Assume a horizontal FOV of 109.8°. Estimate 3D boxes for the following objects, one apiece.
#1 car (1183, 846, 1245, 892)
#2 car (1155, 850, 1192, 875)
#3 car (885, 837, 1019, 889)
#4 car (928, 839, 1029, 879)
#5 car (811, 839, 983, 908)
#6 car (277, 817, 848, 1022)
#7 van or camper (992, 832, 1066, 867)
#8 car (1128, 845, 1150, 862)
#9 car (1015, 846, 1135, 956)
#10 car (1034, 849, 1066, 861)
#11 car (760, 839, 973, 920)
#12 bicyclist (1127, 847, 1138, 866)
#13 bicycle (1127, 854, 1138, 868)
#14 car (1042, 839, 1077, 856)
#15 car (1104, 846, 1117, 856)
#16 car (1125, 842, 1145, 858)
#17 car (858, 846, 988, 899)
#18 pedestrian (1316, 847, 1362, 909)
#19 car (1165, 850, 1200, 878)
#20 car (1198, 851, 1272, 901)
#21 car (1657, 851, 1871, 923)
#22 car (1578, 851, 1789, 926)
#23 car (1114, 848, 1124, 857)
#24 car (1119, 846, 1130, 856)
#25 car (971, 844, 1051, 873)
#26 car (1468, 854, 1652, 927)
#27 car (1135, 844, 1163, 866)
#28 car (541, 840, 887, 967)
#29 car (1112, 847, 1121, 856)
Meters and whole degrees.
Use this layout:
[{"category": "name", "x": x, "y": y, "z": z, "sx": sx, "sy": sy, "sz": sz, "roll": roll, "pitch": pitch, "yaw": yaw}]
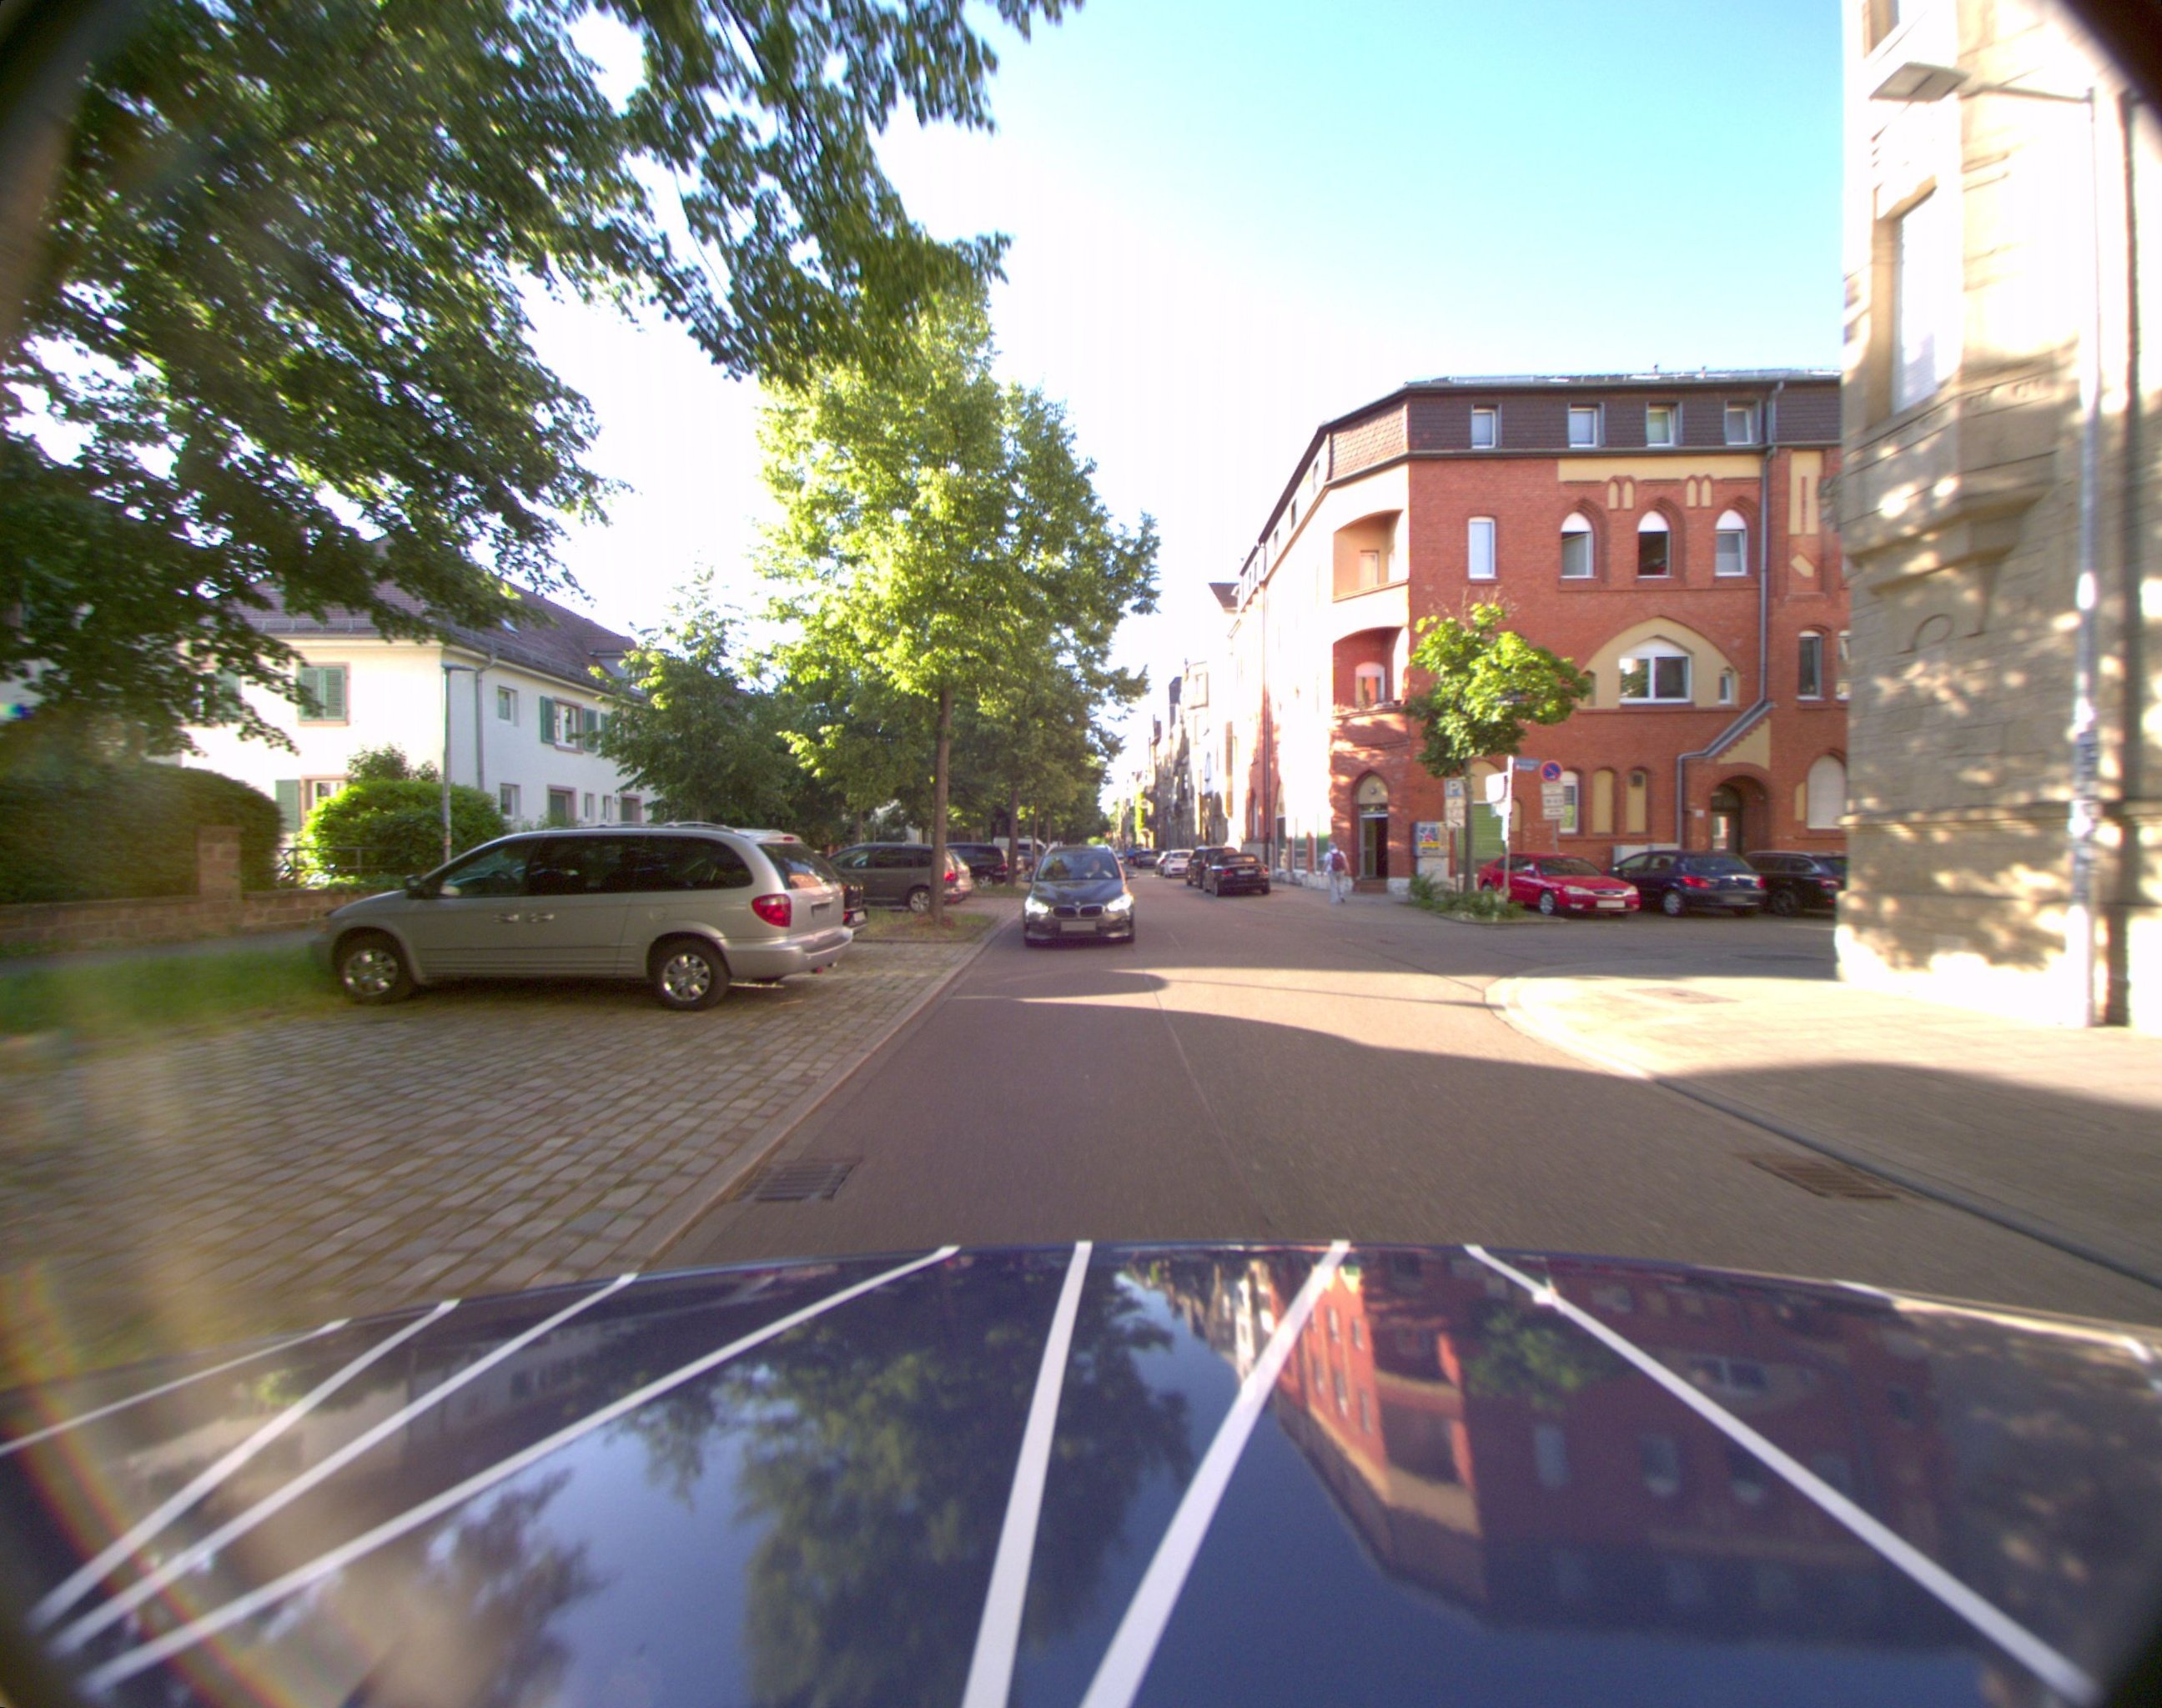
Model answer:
[{"category": "car", "x": 5.324, "y": 0.537, "z": 30.849, "sx": 1.673, "sy": 1.671, "sz": 4.349, "roll": -1, "pitch": 1, "yaw": -1}, {"category": "car", "x": 5.499, "y": 0.485, "z": 45.727, "sx": 1.681, "sy": 1.434, "sz": 4.111, "roll": -2, "pitch": 0, "yaw": 0}, {"category": "car", "x": -4.783, "y": 0.324, "z": 28.579, "sx": 4.592, "sy": 1.667, "sz": 1.907, "roll": 3, "pitch": 1, "yaw": 3}, {"category": "car", "x": -4.783, "y": 0.237, "z": 35.955, "sx": 4.487, "sy": 1.624, "sz": 1.875, "roll": 3, "pitch": 1, "yaw": 0}, {"category": "car", "x": -5.073, "y": 0.514, "z": 21.218, "sx": 4.282, "sy": 1.624, "sz": 1.690, "roll": 3, "pitch": 1, "yaw": 4}, {"category": "car", "x": -5.026, "y": 0.578, "z": 7.809, "sx": 4.630, "sy": 1.700, "sz": 1.833, "roll": 2, "pitch": 1, "yaw": 2}, {"category": "van or camper", "x": -4.138, "y": -0.377, "z": 61.348, "sx": 5.733, "sy": 2.502, "sz": 2.162, "roll": 3, "pitch": 1, "yaw": 0}, {"category": "car", "x": 5.599, "y": -0.083, "z": 73.544, "sx": 1.774, "sy": 1.493, "sz": 4.211, "roll": 0, "pitch": 2, "yaw": 0}, {"category": "car", "x": -0.032, "y": 0.708, "z": 13.750, "sx": 1.753, "sy": 1.596, "sz": 4.550, "roll": -2, "pitch": 0, "yaw": 1}, {"category": "car", "x": -3.909, "y": 0.099, "z": 96.445, "sx": 3.998, "sy": 1.504, "sz": 1.572, "roll": 1, "pitch": 1, "yaw": -3}, {"category": "car", "x": -4.959, "y": 0.576, "z": 18.121, "sx": 4.552, "sy": 1.624, "sz": 1.811, "roll": 3, "pitch": 1, "yaw": -5}, {"category": "bicyclist", "x": 4.063, "y": 0.191, "z": 59.929, "sx": 0.761, "sy": 1.446, "sz": 0.948, "roll": 1, "pitch": 2, "yaw": 1}, {"category": "bicycle", "x": 4.058, "y": 0.536, "z": 59.870, "sx": 0.759, "sy": 1.101, "sz": 1.907, "roll": 1, "pitch": 1, "yaw": 1}, {"category": "car", "x": -3.413, "y": -1.034, "z": 122.125, "sx": 5.448, "sy": 2.646, "sz": 2.134, "roll": 1, "pitch": 1, "yaw": 1}, {"category": "car", "x": 4.467, "y": -0.429, "z": 115.762, "sx": 1.631, "sy": 1.469, "sz": 3.758, "roll": 1, "pitch": 1, "yaw": -1}, {"category": "car", "x": 5.720, "y": -0.442, "z": 80.888, "sx": 1.774, "sy": 1.658, "sz": 4.211, "roll": -1, "pitch": 1, "yaw": 0}, {"category": "car", "x": -4.972, "y": 0.549, "z": 24.169, "sx": 3.731, "sy": 1.445, "sz": 1.589, "roll": 3, "pitch": 1, "yaw": 0}, {"category": "pedestrian", "x": 6.901, "y": 0.619, "z": 20.357, "sx": 0.890, "sy": 1.569, "sz": 1.052, "roll": -1, "pitch": 4, "yaw": 1}, {"category": "car", "x": 5.422, "y": 0.509, "z": 40.969, "sx": 1.570, "sy": 1.462, "sz": 3.591, "roll": -1, "pitch": 0, "yaw": 3}, {"category": "car", "x": 5.128, "y": 0.679, "z": 25.780, "sx": 1.639, "sy": 1.402, "sz": 4.332, "roll": -3, "pitch": 1, "yaw": 1}, {"category": "car", "x": 16.443, "y": 0.722, "z": 18.599, "sx": 1.717, "sy": 1.503, "sz": 3.914, "roll": 0, "pitch": 1, "yaw": 1}, {"category": "car", "x": 14.094, "y": 0.726, "z": 18.155, "sx": 1.717, "sy": 1.541, "sz": 4.212, "roll": 0, "pitch": 1, "yaw": 1}, {"category": "car", "x": 7.370, "y": -0.285, "z": 147.168, "sx": 1.710, "sy": 1.496, "sz": 3.629, "roll": -4, "pitch": -1, "yaw": 2}, {"category": "car", "x": 7.195, "y": -0.547, "z": 125.718, "sx": 1.686, "sy": 1.496, "sz": 3.629, "roll": -4, "pitch": -1, "yaw": 2}, {"category": "car", "x": -4.365, "y": 0.255, "z": 47.886, "sx": 4.850, "sy": 1.530, "sz": 1.894, "roll": 3, "pitch": 1, "yaw": -1}, {"category": "car", "x": 11.439, "y": 0.779, "z": 18.602, "sx": 1.639, "sy": 1.460, "sz": 4.657, "roll": -1, "pitch": 1, "yaw": 1}, {"category": "car", "x": 5.526, "y": 0.100, "z": 62.246, "sx": 1.881, "sy": 1.707, "sz": 4.339, "roll": -1, "pitch": 0, "yaw": 1}, {"category": "car", "x": -5.069, "y": 0.650, "z": 10.872, "sx": 4.077, "sy": 1.468, "sz": 1.694, "roll": 3, "pitch": 0, "yaw": 2}, {"category": "car", "x": 7.243, "y": -0.514, "z": 155.311, "sx": 1.710, "sy": 1.496, "sz": 3.629, "roll": -4, "pitch": -1, "yaw": 2}]
